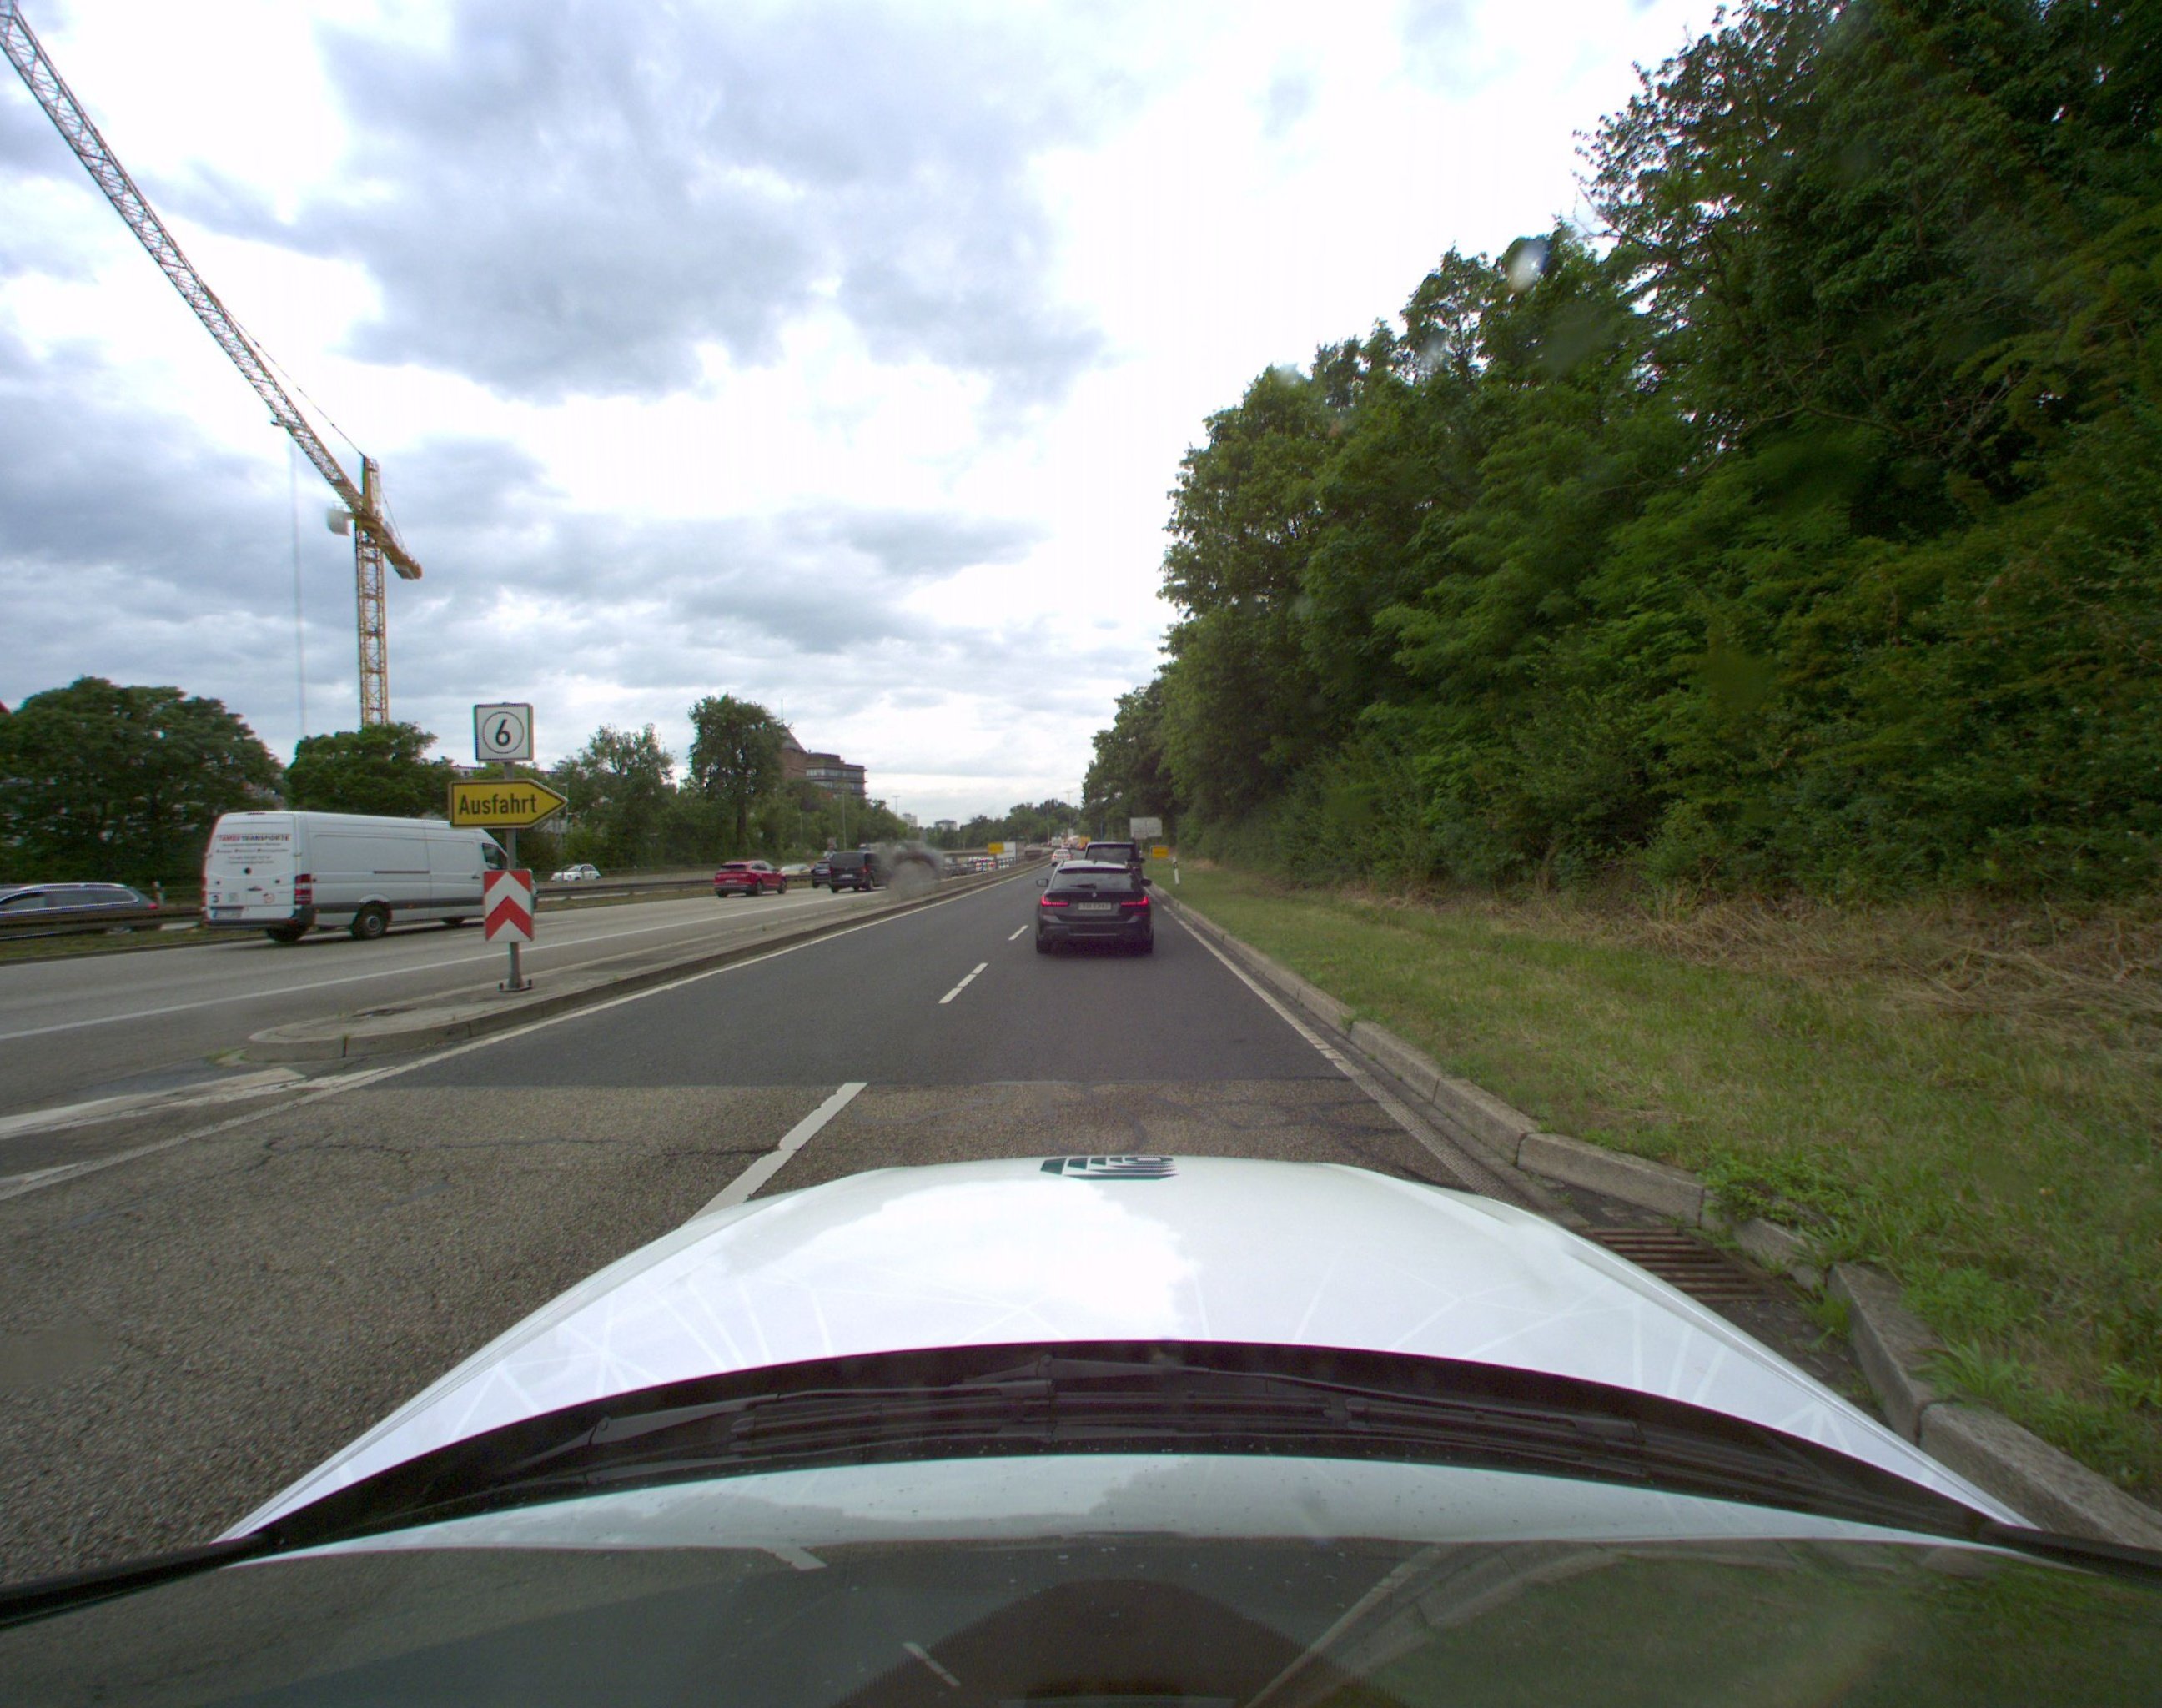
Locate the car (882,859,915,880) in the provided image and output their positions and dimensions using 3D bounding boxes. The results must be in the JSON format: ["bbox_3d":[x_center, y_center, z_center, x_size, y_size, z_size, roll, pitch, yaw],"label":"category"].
[{"bbox_3d":[-14.485,1.199,64.793,1.682,1.608,4.008,0,0,0],"label":"car"}]

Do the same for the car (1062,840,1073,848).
[{"bbox_3d":[-3.053,-2.172,180.164,1.929,1.596,3.868,-2,0,-7],"label":"car"}]

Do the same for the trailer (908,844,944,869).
[{"bbox_3d":[-24.962,0.337,132.233,2.581,3.757,14.732,-2,0,2],"label":"trailer"}]

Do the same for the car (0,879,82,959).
[{"bbox_3d":[-22.991,1.380,16.057,1.591,1.591,4.000,-2,0,1],"label":"car"}]

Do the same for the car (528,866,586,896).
[{"bbox_3d":[-35.017,1.785,54.514,1.551,1.838,3.619,-2,0,-1],"label":"car"}]

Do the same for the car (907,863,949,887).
[{"bbox_3d":[-10.311,1.367,55.168,1.706,1.456,4.669,-1,0,2],"label":"car"}]

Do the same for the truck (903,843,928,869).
[{"bbox_3d":[-25.190,0.328,124.360,2.583,3.768,4.779,-2,0,1],"label":"truck"}]

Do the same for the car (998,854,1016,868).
[{"bbox_3d":[-8.502,0.811,93.721,1.763,1.549,3.492,-2,0,0],"label":"car"}]

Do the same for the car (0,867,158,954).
[{"bbox_3d":[-22.753,1.192,17.248,1.767,1.719,4.001,-2,0,1],"label":"car"}]

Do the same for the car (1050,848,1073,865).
[{"bbox_3d":[-1.744,0.201,73.676,1.852,1.464,4.885,-1,0,1],"label":"car"}]

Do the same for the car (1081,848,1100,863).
[{"bbox_3d":[0.934,0.119,82.754,1.852,1.464,4.534,-1,0,1],"label":"car"}]

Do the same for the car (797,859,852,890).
[{"bbox_3d":[-15.524,1.207,49.484,1.884,1.681,4.306,-2,0,0],"label":"car"}]

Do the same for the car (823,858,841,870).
[{"bbox_3d":[-34.531,1.340,113.179,1.341,1.524,3.371,-2,0,2],"label":"car"}]

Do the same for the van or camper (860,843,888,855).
[{"bbox_3d":[-45.516,-1.043,179.301,5.692,2.637,1.899,0,0,-40],"label":"van or camper"}]

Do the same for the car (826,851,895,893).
[{"bbox_3d":[-10.547,0.810,39.352,1.987,1.851,4.811,-1,0,0],"label":"car"}]

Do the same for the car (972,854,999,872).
[{"bbox_3d":[-9.305,0.836,79.951,1.938,1.692,4.509,-2,0,2],"label":"car"}]

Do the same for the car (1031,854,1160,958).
[{"bbox_3d":[0.206,0.735,13.641,1.840,1.466,3.999,0,0,0],"label":"car"}]

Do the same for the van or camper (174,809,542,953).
[{"bbox_3d":[-15.750,0.490,18.617,2.042,2.621,6.957,-2,0,1],"label":"van or camper"}]

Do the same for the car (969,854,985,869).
[{"bbox_3d":[-14.180,0.988,111.307,1.438,2.044,3.682,-2,0,2],"label":"car"}]

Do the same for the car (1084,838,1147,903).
[{"bbox_3d":[1.060,0.481,25.733,1.789,1.872,4.002,-1,0,2],"label":"car"}]

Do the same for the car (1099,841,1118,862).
[{"bbox_3d":[2.150,-0.211,64.214,1.447,1.540,3.226,-2,0,2],"label":"car"}]

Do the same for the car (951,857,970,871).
[{"bbox_3d":[-14.402,1.163,97.444,1.682,1.632,3.734,0,0,0],"label":"car"}]

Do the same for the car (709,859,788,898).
[{"bbox_3d":[-15.073,1.077,37.174,1.745,1.635,4.268,-1,0,2],"label":"car"}]
